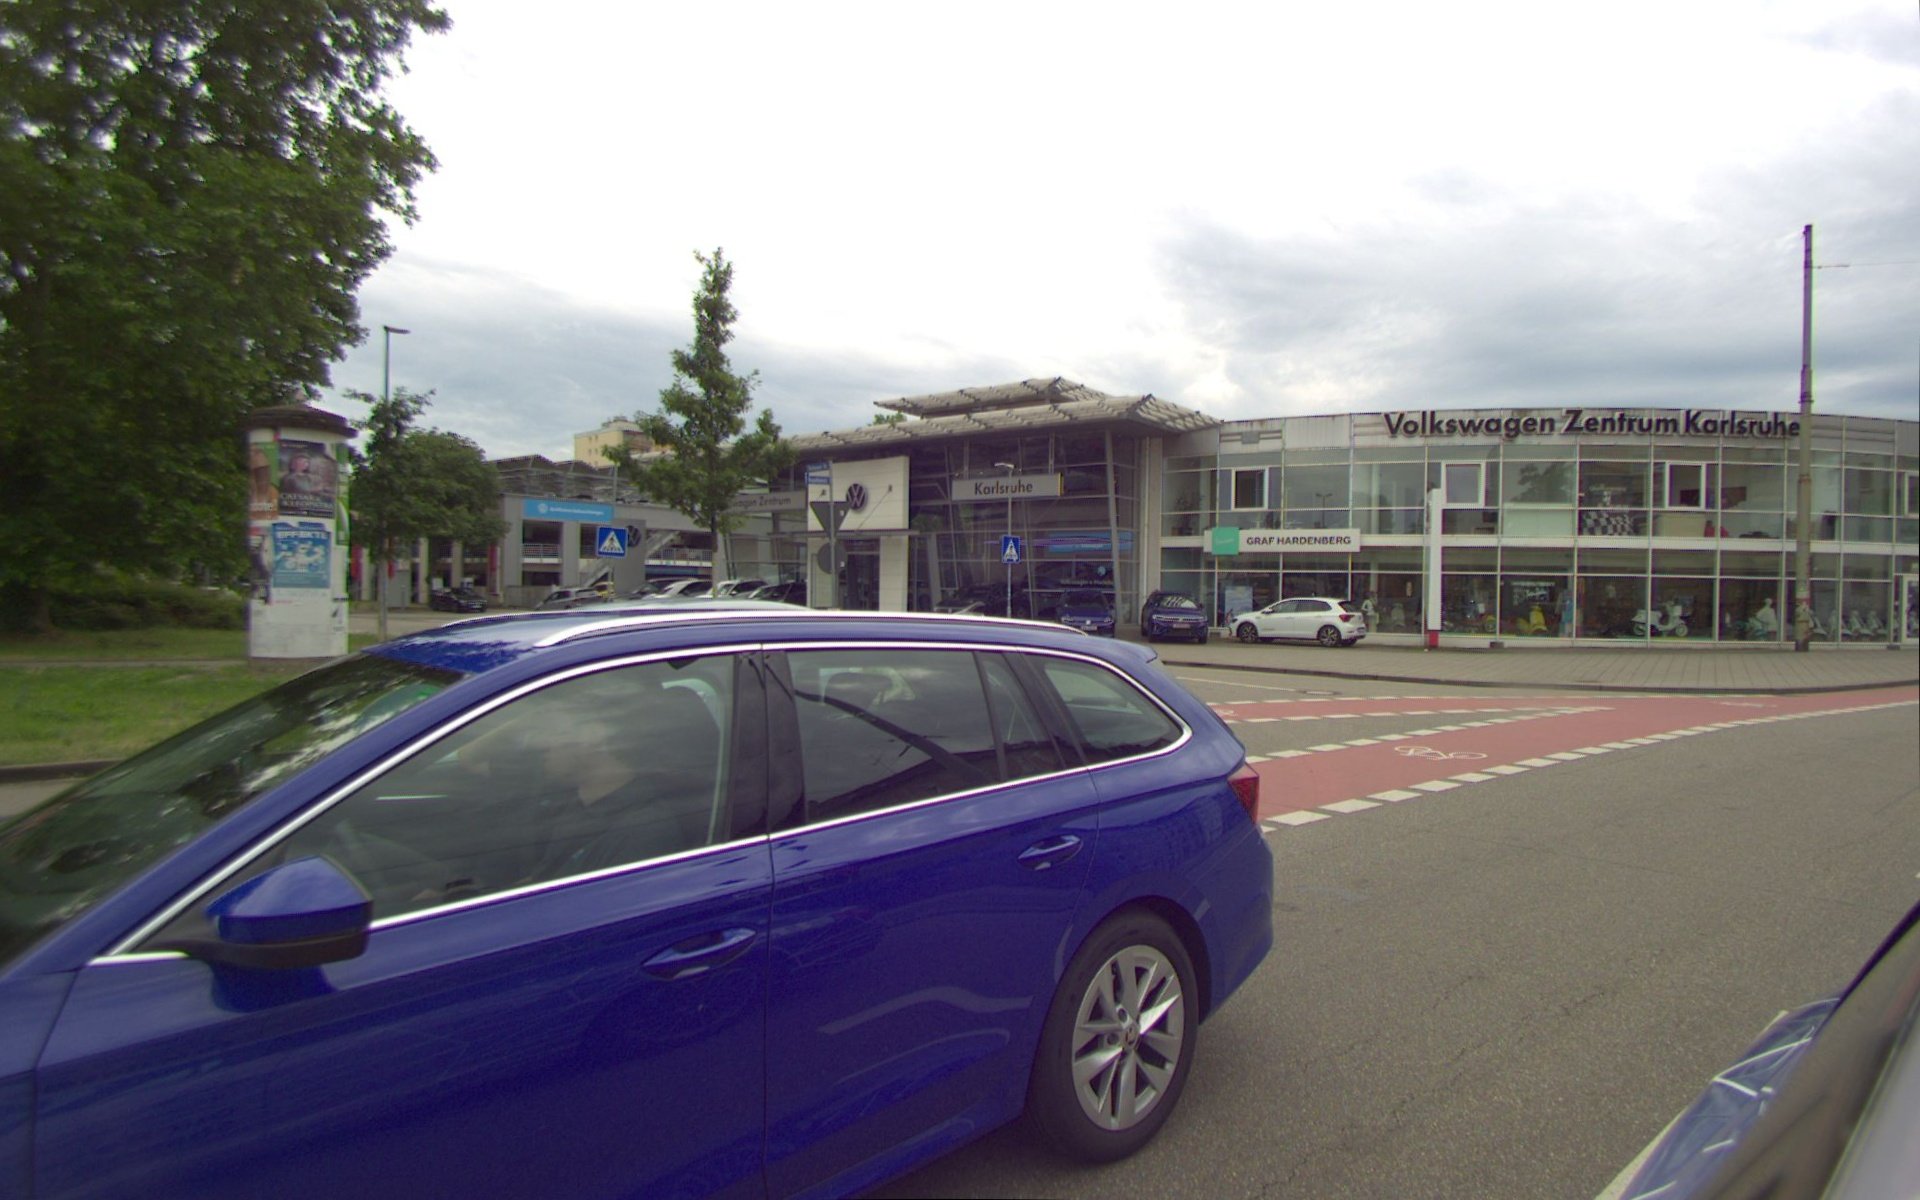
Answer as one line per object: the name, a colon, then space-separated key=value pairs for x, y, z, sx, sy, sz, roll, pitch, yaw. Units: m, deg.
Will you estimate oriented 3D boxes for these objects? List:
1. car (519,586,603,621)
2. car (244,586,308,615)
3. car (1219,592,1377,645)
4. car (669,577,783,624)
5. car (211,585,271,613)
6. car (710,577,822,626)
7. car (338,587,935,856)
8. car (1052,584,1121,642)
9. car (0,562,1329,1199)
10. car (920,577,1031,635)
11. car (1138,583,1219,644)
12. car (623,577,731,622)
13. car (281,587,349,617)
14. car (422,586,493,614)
car: x=-19.264 y=0.136 z=48.809 sx=3.988 sy=1.583 sz=1.896 roll=0 pitch=1 yaw=35
car: x=-42.239 y=-0.010 z=62.478 sx=4.447 sy=1.643 sz=1.838 roll=1 pitch=2 yaw=35
car: x=10.248 y=0.520 z=30.861 sx=4.243 sy=1.471 sz=1.757 roll=1 pitch=0 yaw=40
car: x=-10.064 y=-0.014 z=43.833 sx=1.850 sy=1.720 sz=4.715 roll=0 pitch=4 yaw=37
car: x=-46.524 y=-0.093 z=65.444 sx=4.447 sy=1.643 sz=1.838 roll=1 pitch=2 yaw=35
car: x=-7.995 y=-0.001 z=42.071 sx=1.886 sy=1.717 sz=4.420 roll=0 pitch=4 yaw=36
car: x=-2.212 y=0.671 z=7.742 sx=1.748 sy=1.485 sz=4.034 roll=1 pitch=1 yaw=43
car: x=3.974 y=0.343 z=32.397 sx=1.824 sy=1.522 sz=4.339 roll=0 pitch=3 yaw=2
car: x=-1.049 y=0.682 z=2.535 sx=4.387 sy=1.507 sz=1.783 roll=0 pitch=1 yaw=-40
car: x=0.622 y=0.147 z=35.004 sx=1.846 sy=1.652 sz=4.463 roll=0 pitch=3 yaw=31
car: x=6.714 y=0.362 z=31.526 sx=1.867 sy=1.581 sz=4.218 roll=1 pitch=3 yaw=4
car: x=-12.632 y=-0.057 z=45.449 sx=1.859 sy=1.720 sz=4.418 roll=0 pitch=4 yaw=37
car: x=-37.611 y=0.092 z=58.966 sx=4.447 sy=1.643 sz=1.838 roll=1 pitch=2 yaw=35
car: x=-29.529 y=-0.028 z=59.446 sx=4.447 sy=1.567 sz=1.875 roll=1 pitch=2 yaw=35
